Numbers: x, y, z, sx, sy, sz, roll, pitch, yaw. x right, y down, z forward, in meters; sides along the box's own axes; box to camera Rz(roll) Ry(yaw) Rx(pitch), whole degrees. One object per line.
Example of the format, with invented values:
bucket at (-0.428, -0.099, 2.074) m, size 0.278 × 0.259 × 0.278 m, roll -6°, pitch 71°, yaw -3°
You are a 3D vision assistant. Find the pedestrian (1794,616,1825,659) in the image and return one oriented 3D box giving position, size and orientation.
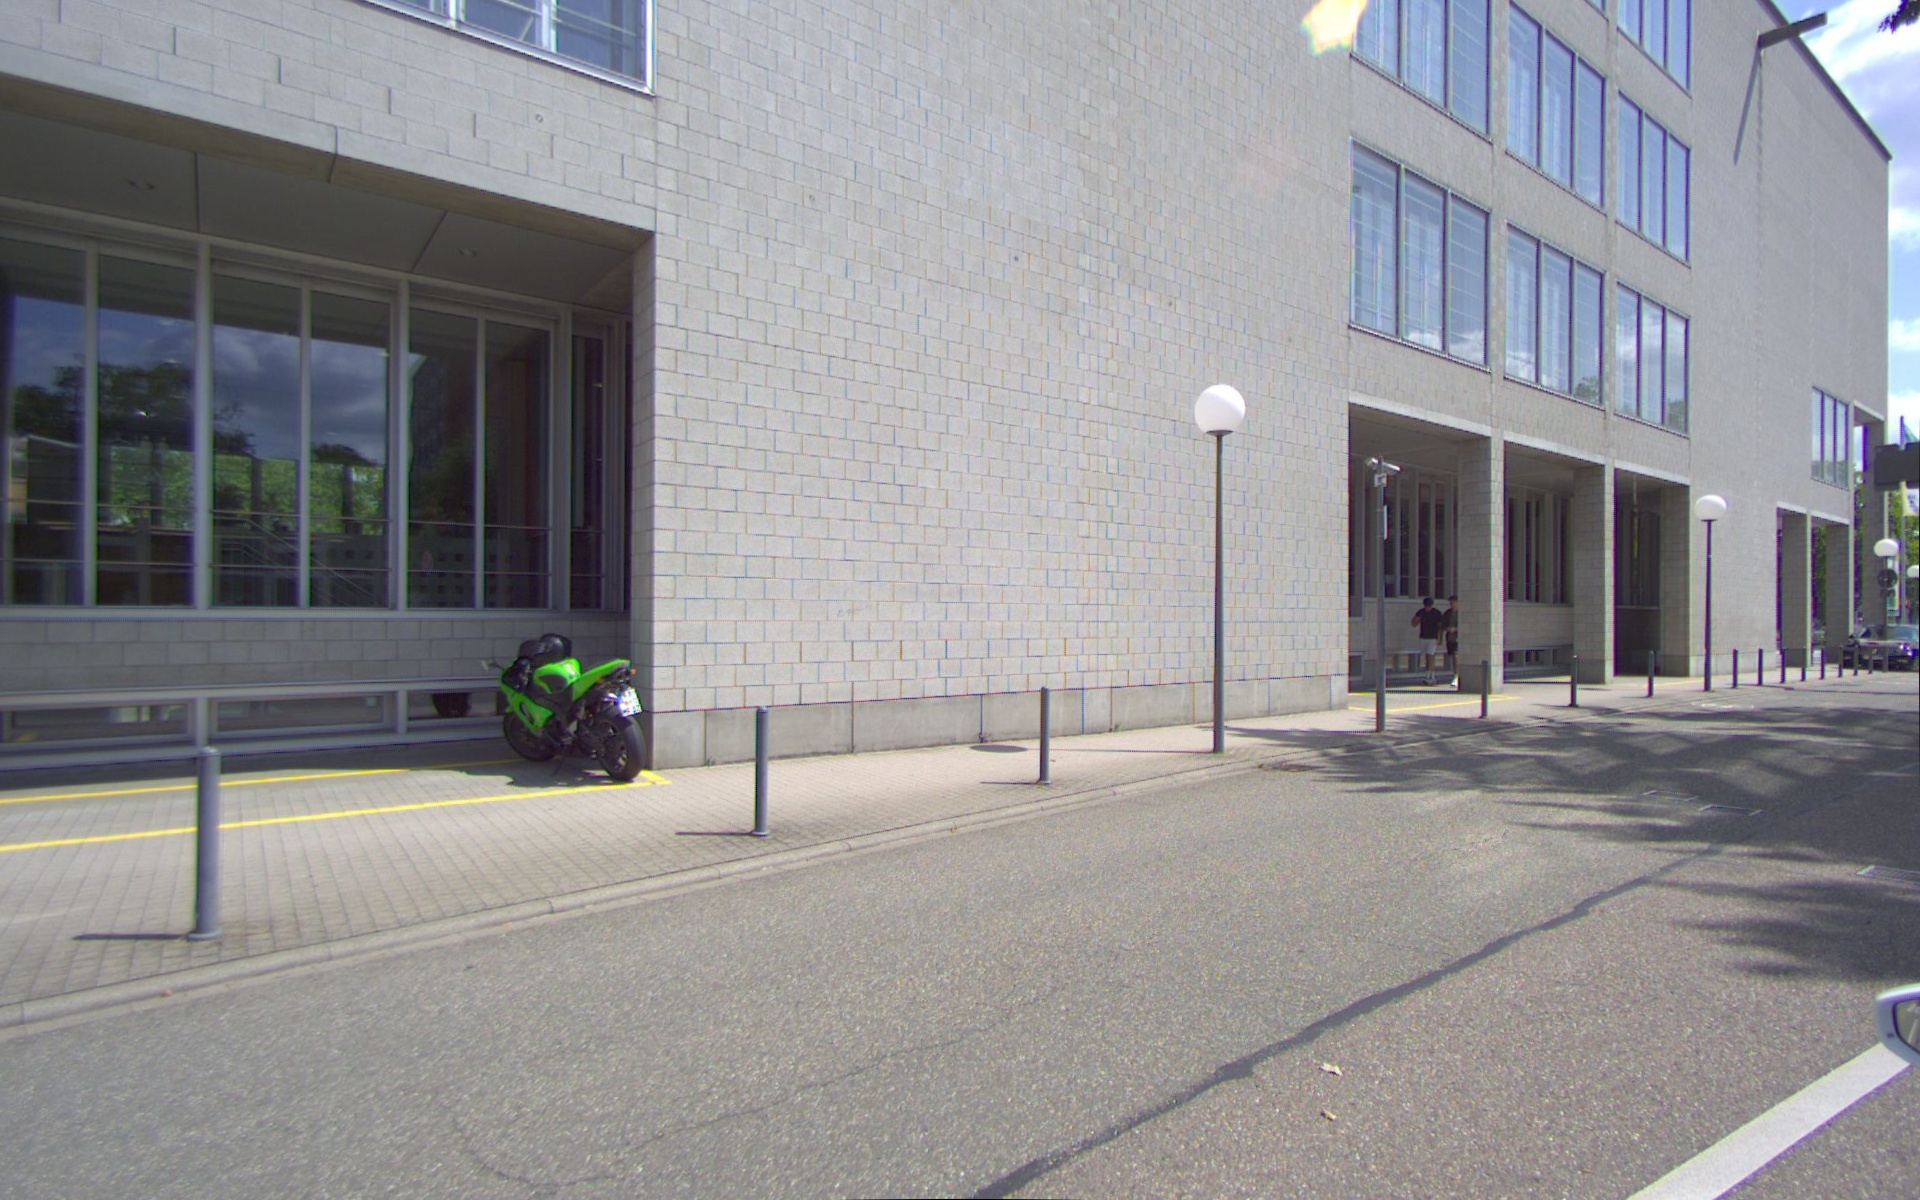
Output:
pedestrian at (40.608, 1.790, 48.027) m, size 1.156 × 2.040 × 0.975 m, roll 1°, pitch -1°, yaw -41°

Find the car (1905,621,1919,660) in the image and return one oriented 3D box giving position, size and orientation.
car at (37.708, 1.546, 38.055) m, size 4.967 × 1.396 × 1.846 m, roll 1°, pitch 1°, yaw -36°

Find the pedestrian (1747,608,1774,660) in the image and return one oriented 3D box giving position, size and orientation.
pedestrian at (38.171, 1.620, 47.896) m, size 0.728 × 2.454 × 0.755 m, roll 0°, pitch -1°, yaw -24°

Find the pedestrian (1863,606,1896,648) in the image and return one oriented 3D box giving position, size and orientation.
pedestrian at (45.019, 1.307, 49.176) m, size 0.783 × 2.054 × 0.904 m, roll 0°, pitch -1°, yaw -7°

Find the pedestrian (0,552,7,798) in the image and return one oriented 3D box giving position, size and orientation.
pedestrian at (-7.572, 0.564, 7.184) m, size 1.005 × 1.863 × 0.771 m, roll 0°, pitch 0°, yaw -38°

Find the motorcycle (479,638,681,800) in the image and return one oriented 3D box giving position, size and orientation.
motorcycle at (-3.341, 0.949, 8.715) m, size 2.142 × 1.153 × 0.770 m, roll 1°, pitch 0°, yaw 43°

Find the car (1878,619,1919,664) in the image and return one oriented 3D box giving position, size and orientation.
car at (33.846, 1.444, 35.357) m, size 3.673 × 1.487 × 1.626 m, roll 1°, pitch 1°, yaw -38°

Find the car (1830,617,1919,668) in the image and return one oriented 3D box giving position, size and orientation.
car at (30.141, 1.337, 32.695) m, size 4.676 × 1.487 × 1.845 m, roll 1°, pitch 1°, yaw -38°

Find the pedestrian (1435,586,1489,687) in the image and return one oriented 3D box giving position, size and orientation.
pedestrian at (10.362, 0.740, 20.742) m, size 0.822 × 2.040 × 0.694 m, roll 1°, pitch 0°, yaw -37°

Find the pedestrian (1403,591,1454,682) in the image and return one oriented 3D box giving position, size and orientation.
pedestrian at (10.020, 0.764, 21.481) m, size 0.713 × 1.905 × 0.726 m, roll 1°, pitch 0°, yaw -37°
